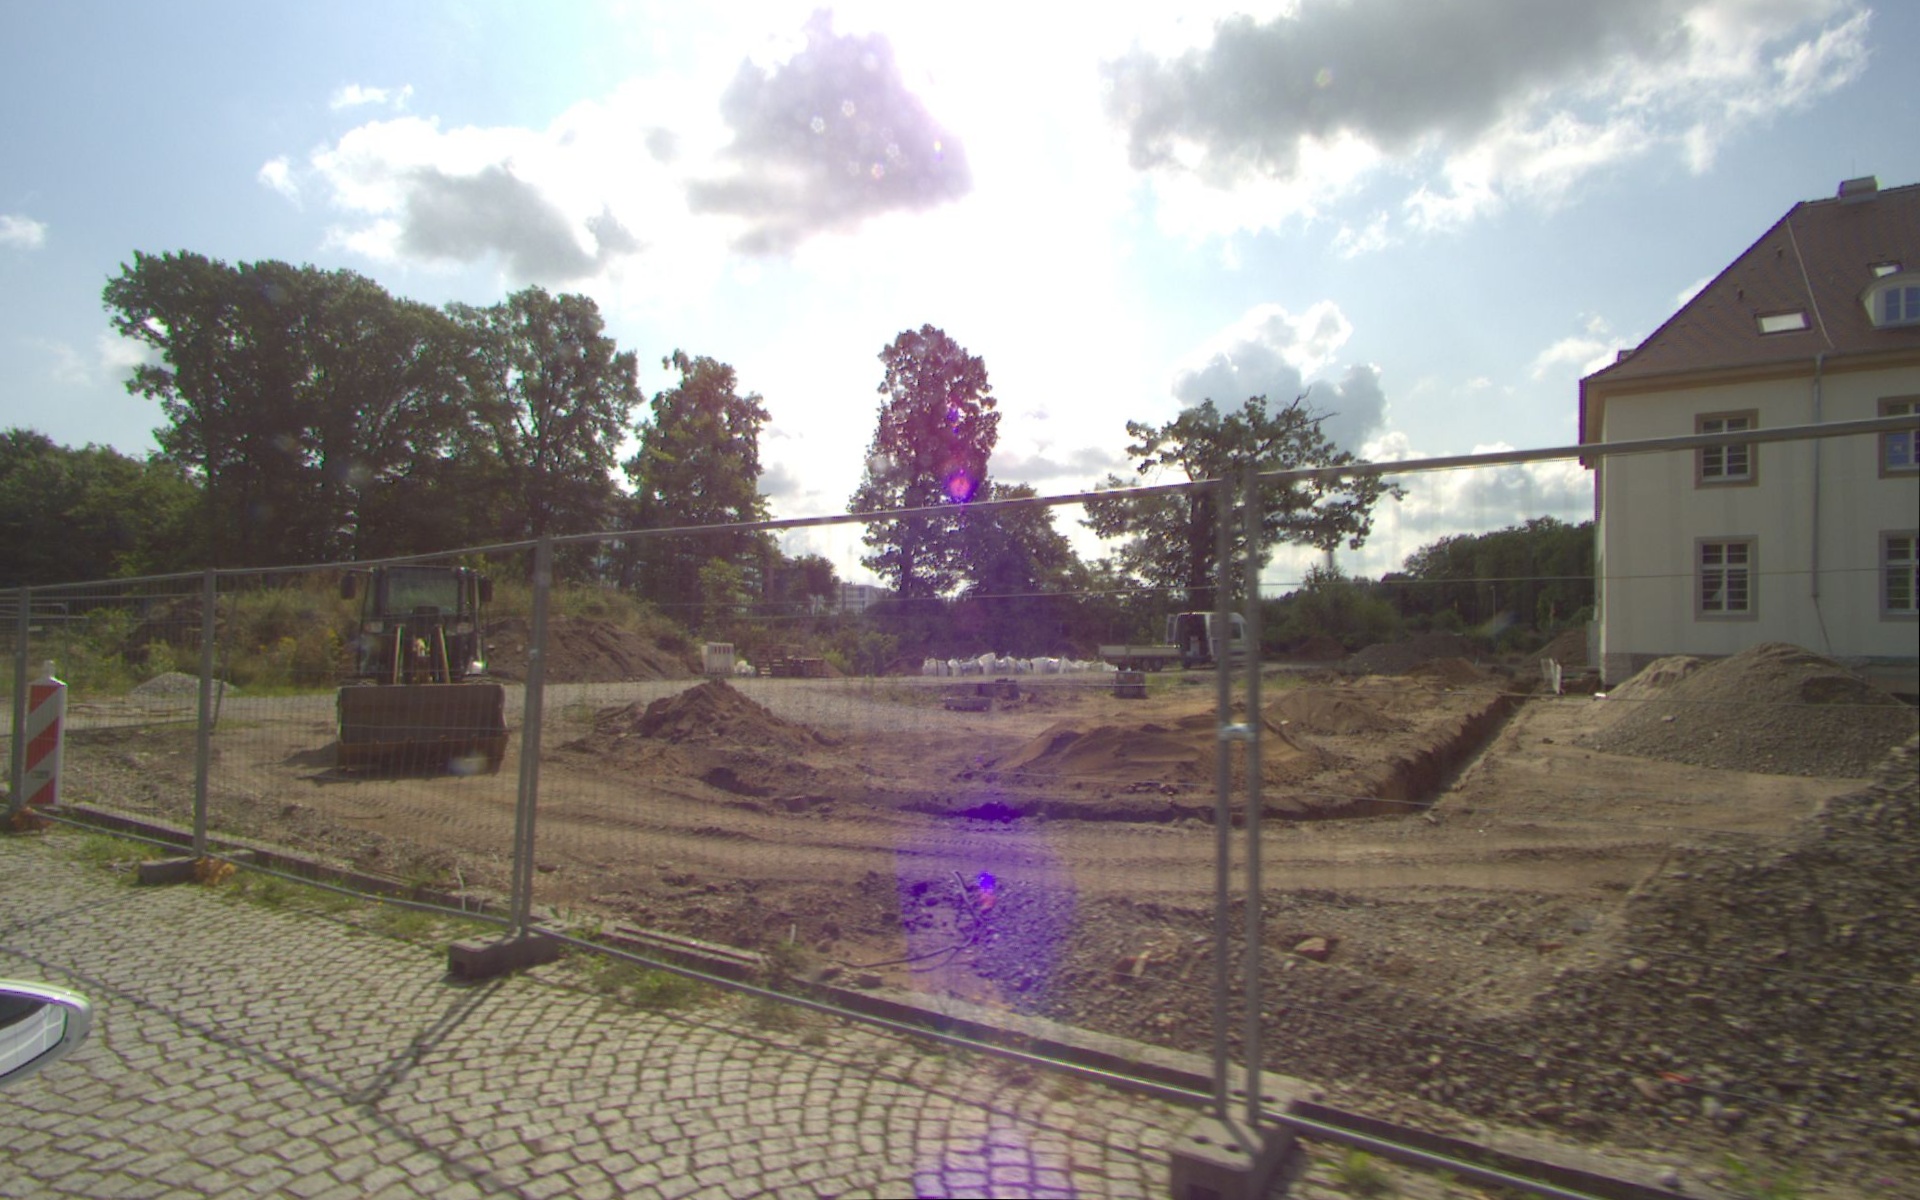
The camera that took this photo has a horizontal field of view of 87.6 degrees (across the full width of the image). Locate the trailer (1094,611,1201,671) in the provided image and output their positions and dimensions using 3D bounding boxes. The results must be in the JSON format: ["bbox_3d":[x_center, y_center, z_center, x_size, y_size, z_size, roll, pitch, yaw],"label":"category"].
[{"bbox_3d":[8.375,1.807,44.469,4.785,2.504,1.948,1,-2,-36],"label":"trailer"}]

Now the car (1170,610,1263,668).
[{"bbox_3d":[12.324,1.858,47.881,2.221,2.624,5.397,-1,-2,40],"label":"car"}]

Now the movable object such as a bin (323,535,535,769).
[{"bbox_3d":[-7.373,0.609,13.912,2.118,2.555,5.628,1,-1,-29],"label":"movable object such as a bin"}]
